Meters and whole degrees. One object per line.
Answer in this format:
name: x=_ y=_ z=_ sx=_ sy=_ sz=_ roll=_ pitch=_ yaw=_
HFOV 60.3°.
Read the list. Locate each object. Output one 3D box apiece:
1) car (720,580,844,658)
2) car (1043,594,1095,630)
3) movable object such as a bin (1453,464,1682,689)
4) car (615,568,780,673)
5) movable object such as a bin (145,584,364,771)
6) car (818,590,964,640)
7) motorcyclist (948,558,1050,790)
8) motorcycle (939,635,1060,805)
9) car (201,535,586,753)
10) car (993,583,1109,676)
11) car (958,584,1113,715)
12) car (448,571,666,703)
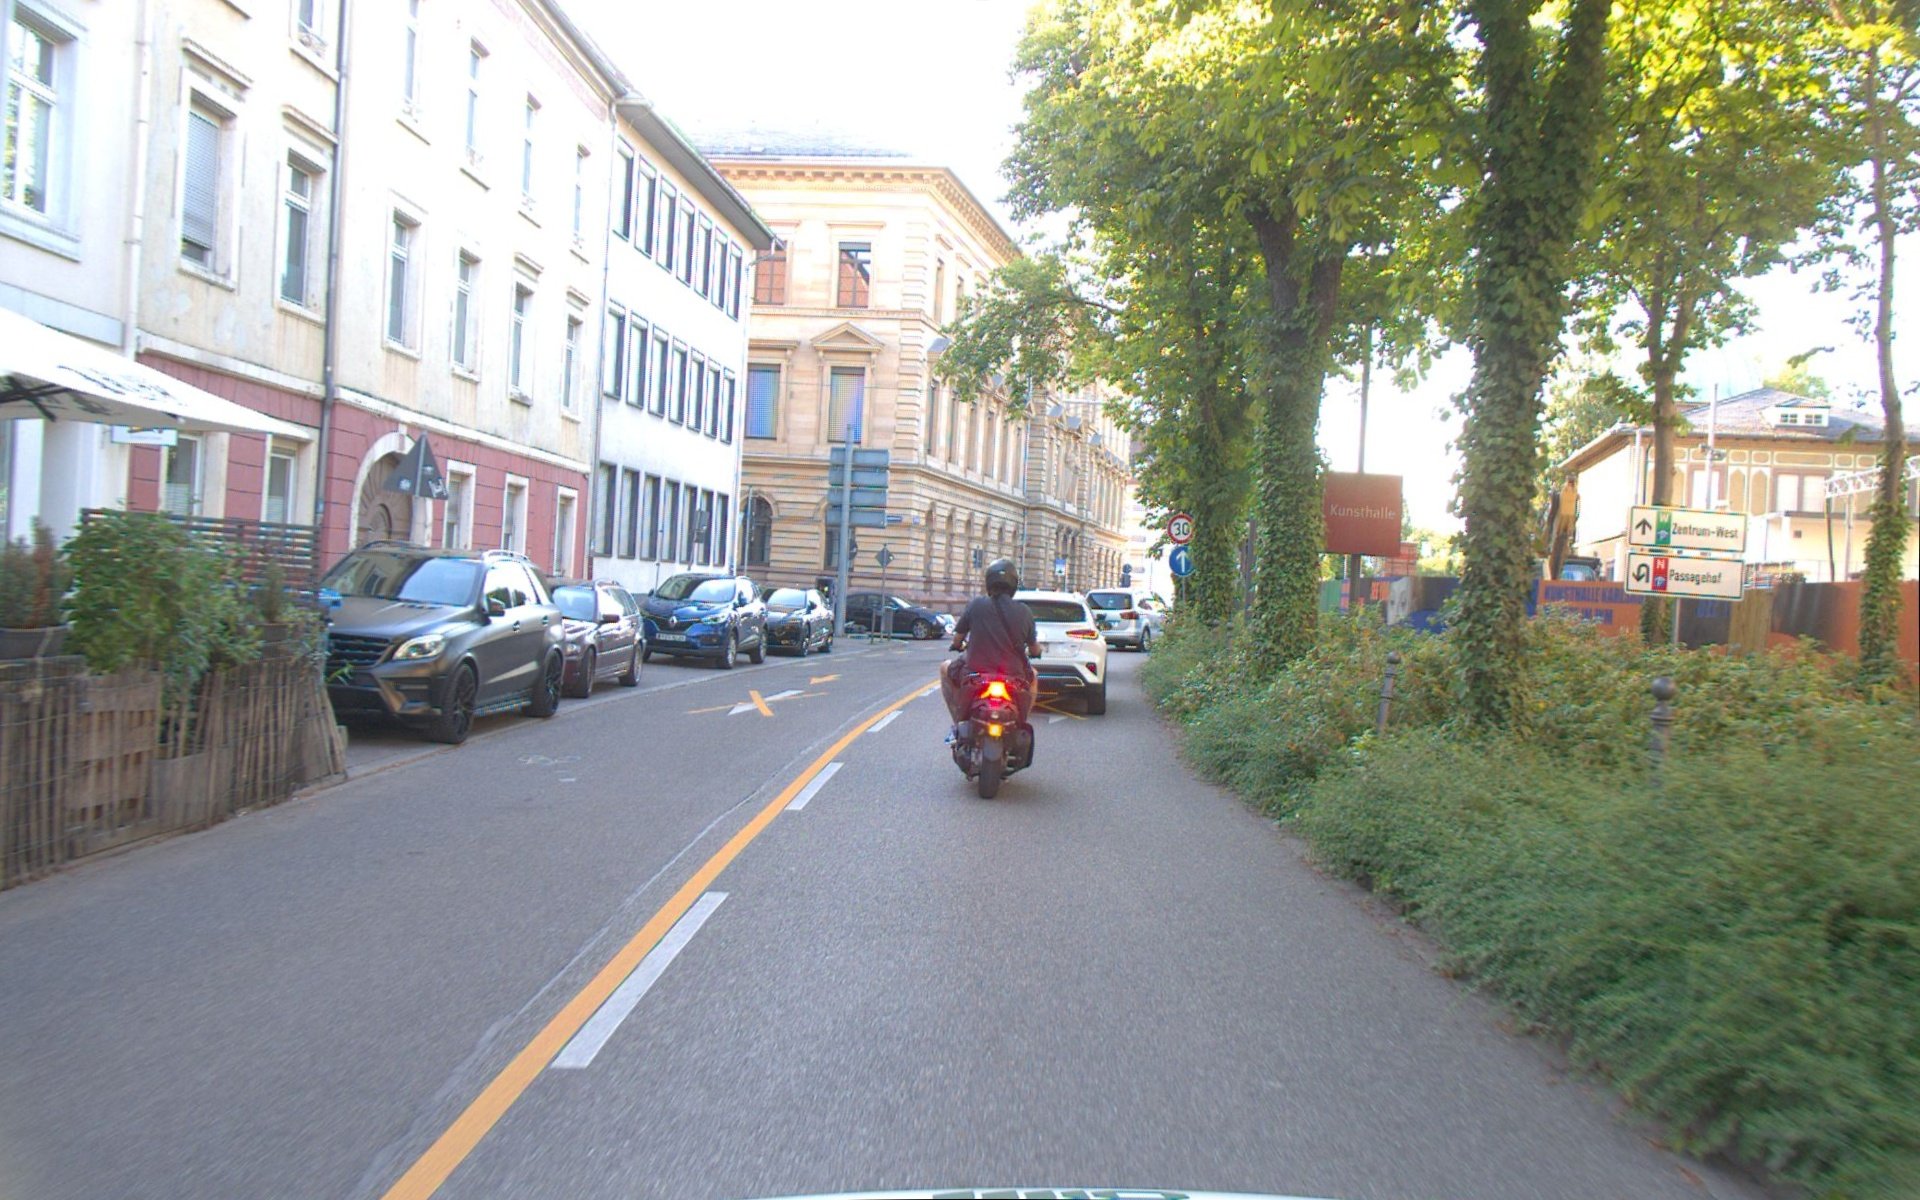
car: x=-3.933 y=0.390 z=37.326 sx=1.785 sy=1.529 sz=4.763 roll=4 pitch=0 yaw=5
car: x=5.048 y=0.539 z=75.997 sx=1.951 sy=1.555 sz=4.188 roll=2 pitch=0 yaw=9
movable object such as a bin: x=13.970 y=-0.511 z=38.821 sx=3.237 sy=4.618 sz=7.911 roll=2 pitch=0 yaw=8
car: x=-4.685 y=0.333 z=30.167 sx=1.893 sy=1.696 sz=4.350 roll=2 pitch=0 yaw=5
movable object such as a bin: x=-5.371 y=0.568 z=12.660 sx=1.190 sy=1.318 sz=0.931 roll=3 pitch=0 yaw=4
car: x=-2.158 y=0.459 z=52.162 sx=4.222 sy=1.414 sz=1.777 roll=2 pitch=0 yaw=15
motorcyclist: x=0.295 y=0.546 z=12.592 sx=0.644 sy=1.679 sz=0.651 roll=4 pitch=0 yaw=1
motorcycle: x=0.292 y=0.857 z=12.414 sx=0.780 sy=1.084 sz=1.725 roll=4 pitch=0 yaw=1
car: x=-5.190 y=0.346 z=15.964 sx=1.882 sy=1.709 sz=4.786 roll=2 pitch=0 yaw=2
car: x=1.762 y=0.520 z=30.876 sx=1.801 sy=1.489 sz=4.060 roll=4 pitch=0 yaw=7
car: x=1.068 y=0.580 z=21.677 sx=1.812 sy=1.506 sz=4.060 roll=1 pitch=0 yaw=5
car: x=-5.196 y=0.427 z=21.915 sx=1.619 sy=1.506 sz=4.429 roll=2 pitch=0 yaw=2
